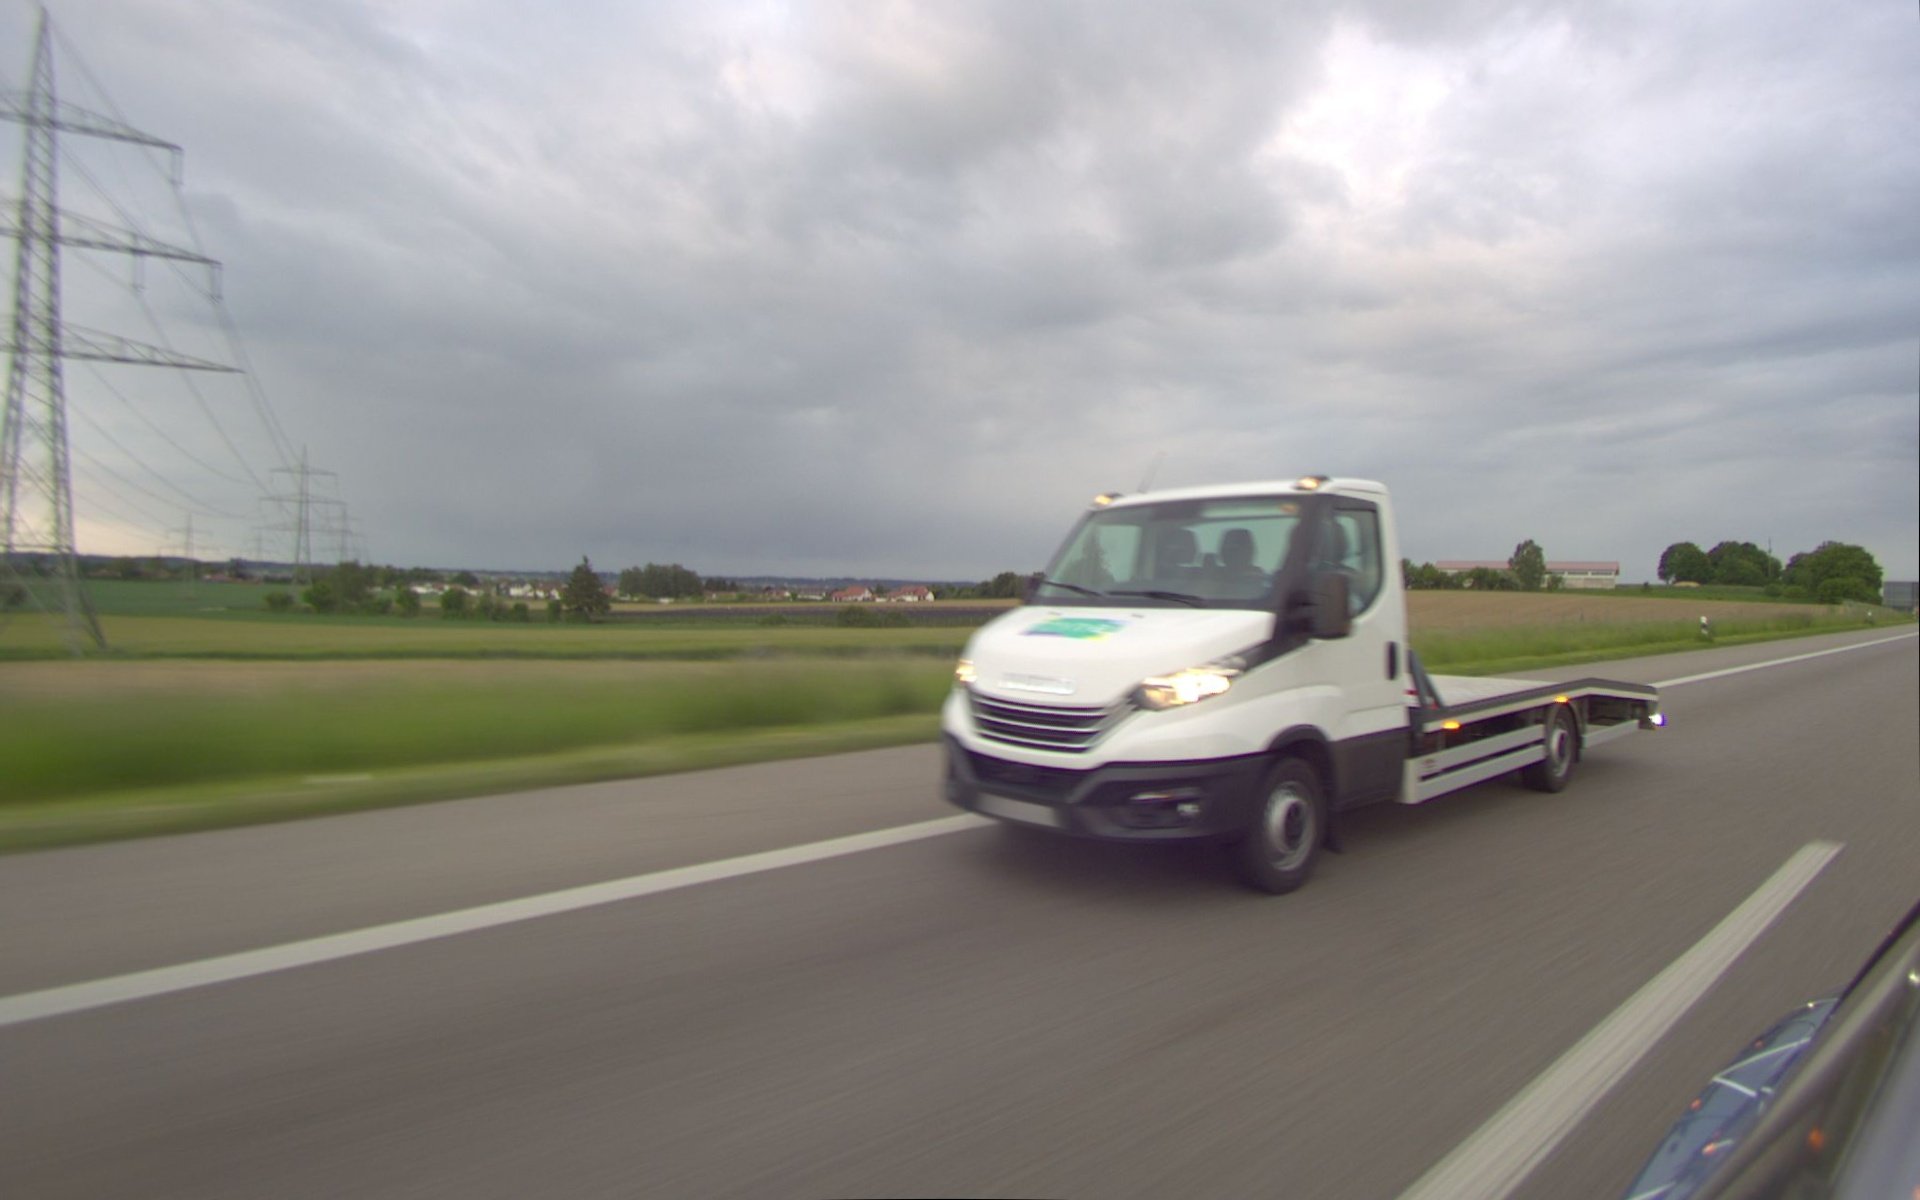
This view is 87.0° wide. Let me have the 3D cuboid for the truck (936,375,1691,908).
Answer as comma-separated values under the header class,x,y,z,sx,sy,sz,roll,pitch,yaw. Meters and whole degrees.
class,x,y,z,sx,sy,sz,roll,pitch,yaw
truck,3.384,0.194,7.884,7.563,2.390,2.175,0,-1,-42
